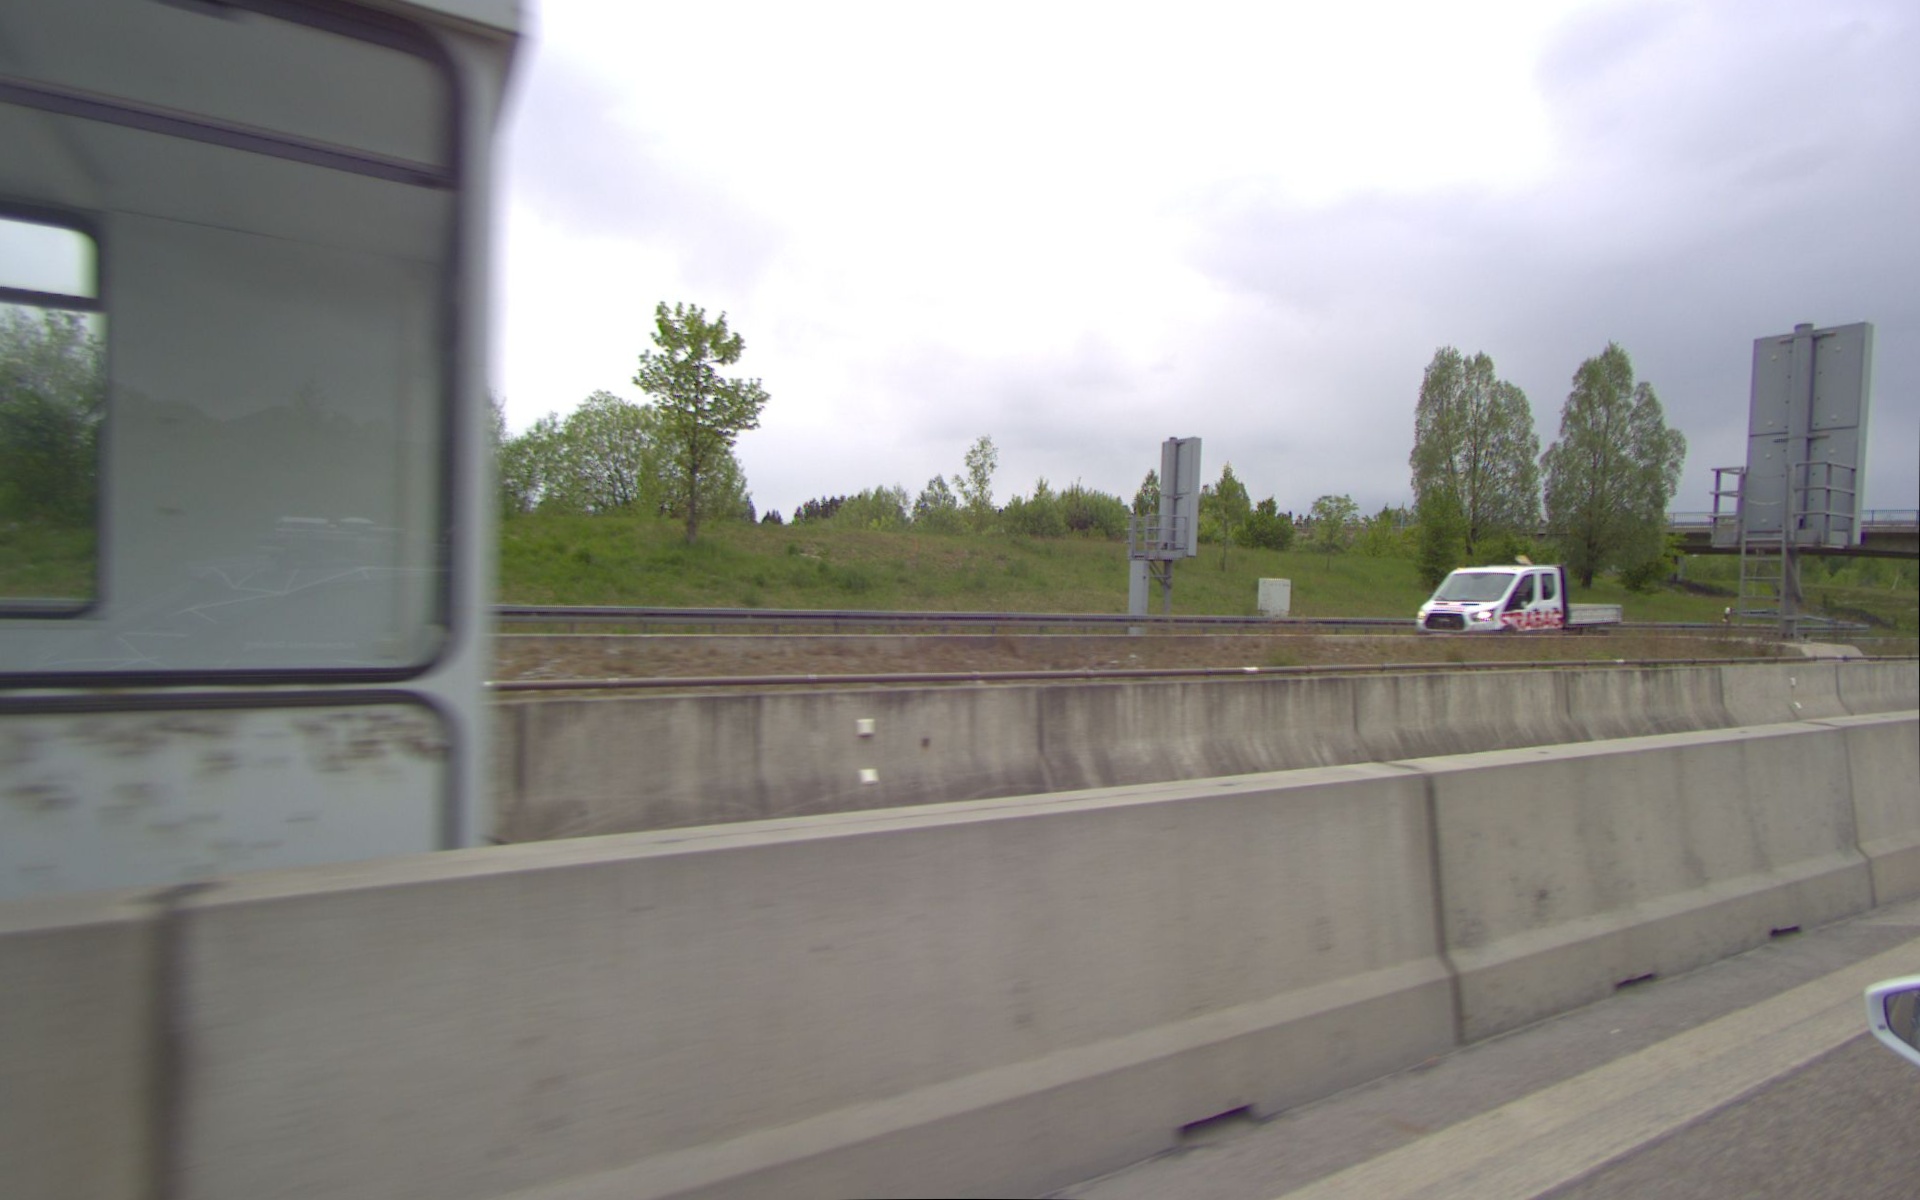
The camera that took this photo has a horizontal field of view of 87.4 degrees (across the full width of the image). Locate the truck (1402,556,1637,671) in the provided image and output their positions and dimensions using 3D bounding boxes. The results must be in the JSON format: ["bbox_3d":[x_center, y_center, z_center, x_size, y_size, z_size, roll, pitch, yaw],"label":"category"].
[{"bbox_3d":[13.779,0.338,24.629,5.919,2.512,2.345,1,1,-31],"label":"truck"}]
